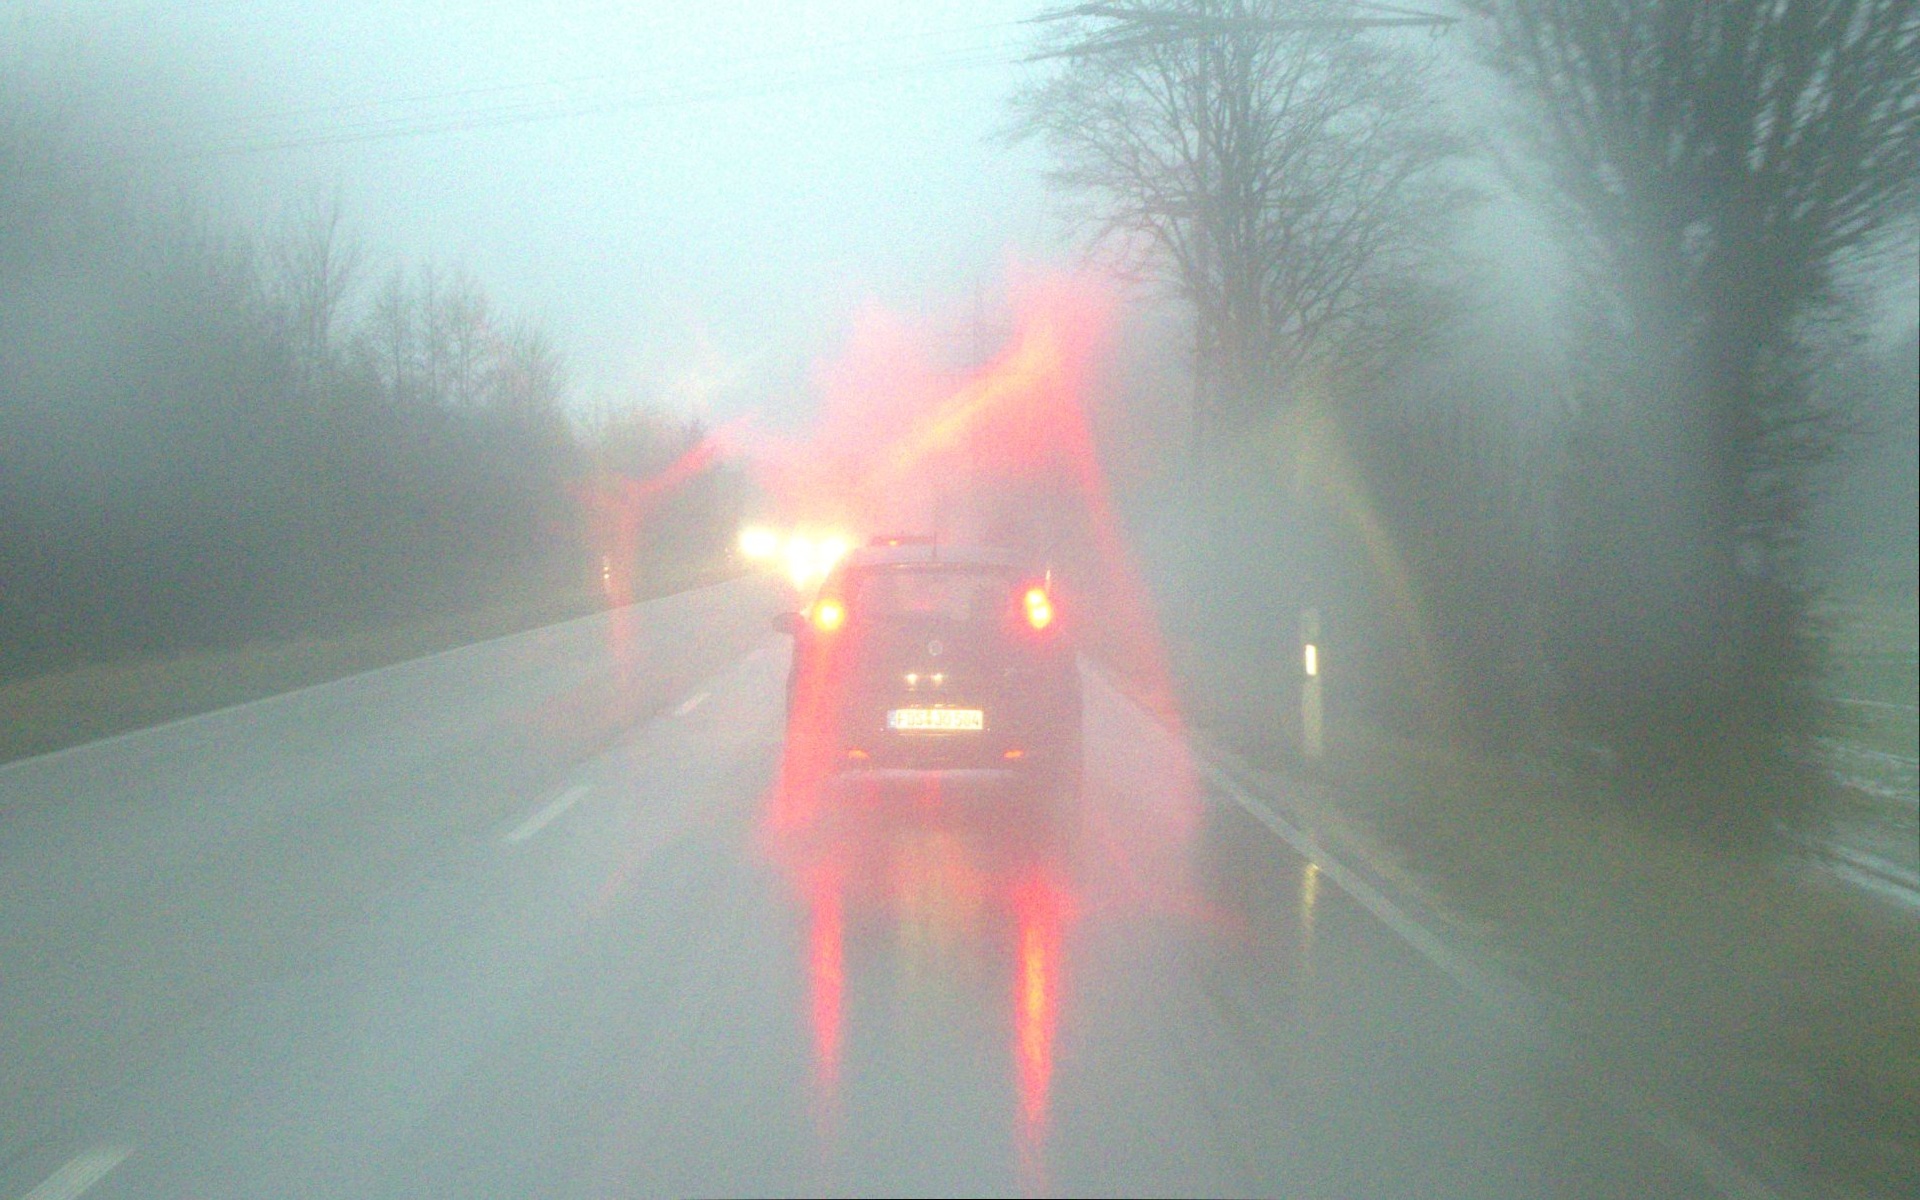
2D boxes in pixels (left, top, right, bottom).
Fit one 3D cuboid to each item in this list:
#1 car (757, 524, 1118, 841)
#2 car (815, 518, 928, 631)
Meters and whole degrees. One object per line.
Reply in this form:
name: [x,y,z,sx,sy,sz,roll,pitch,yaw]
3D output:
car: [-0.157,0.430,21.102,1.993,1.746,4.000,0,1,-1]
car: [-1.610,-0.487,64.040,1.993,2.007,4.000,-1,1,0]
